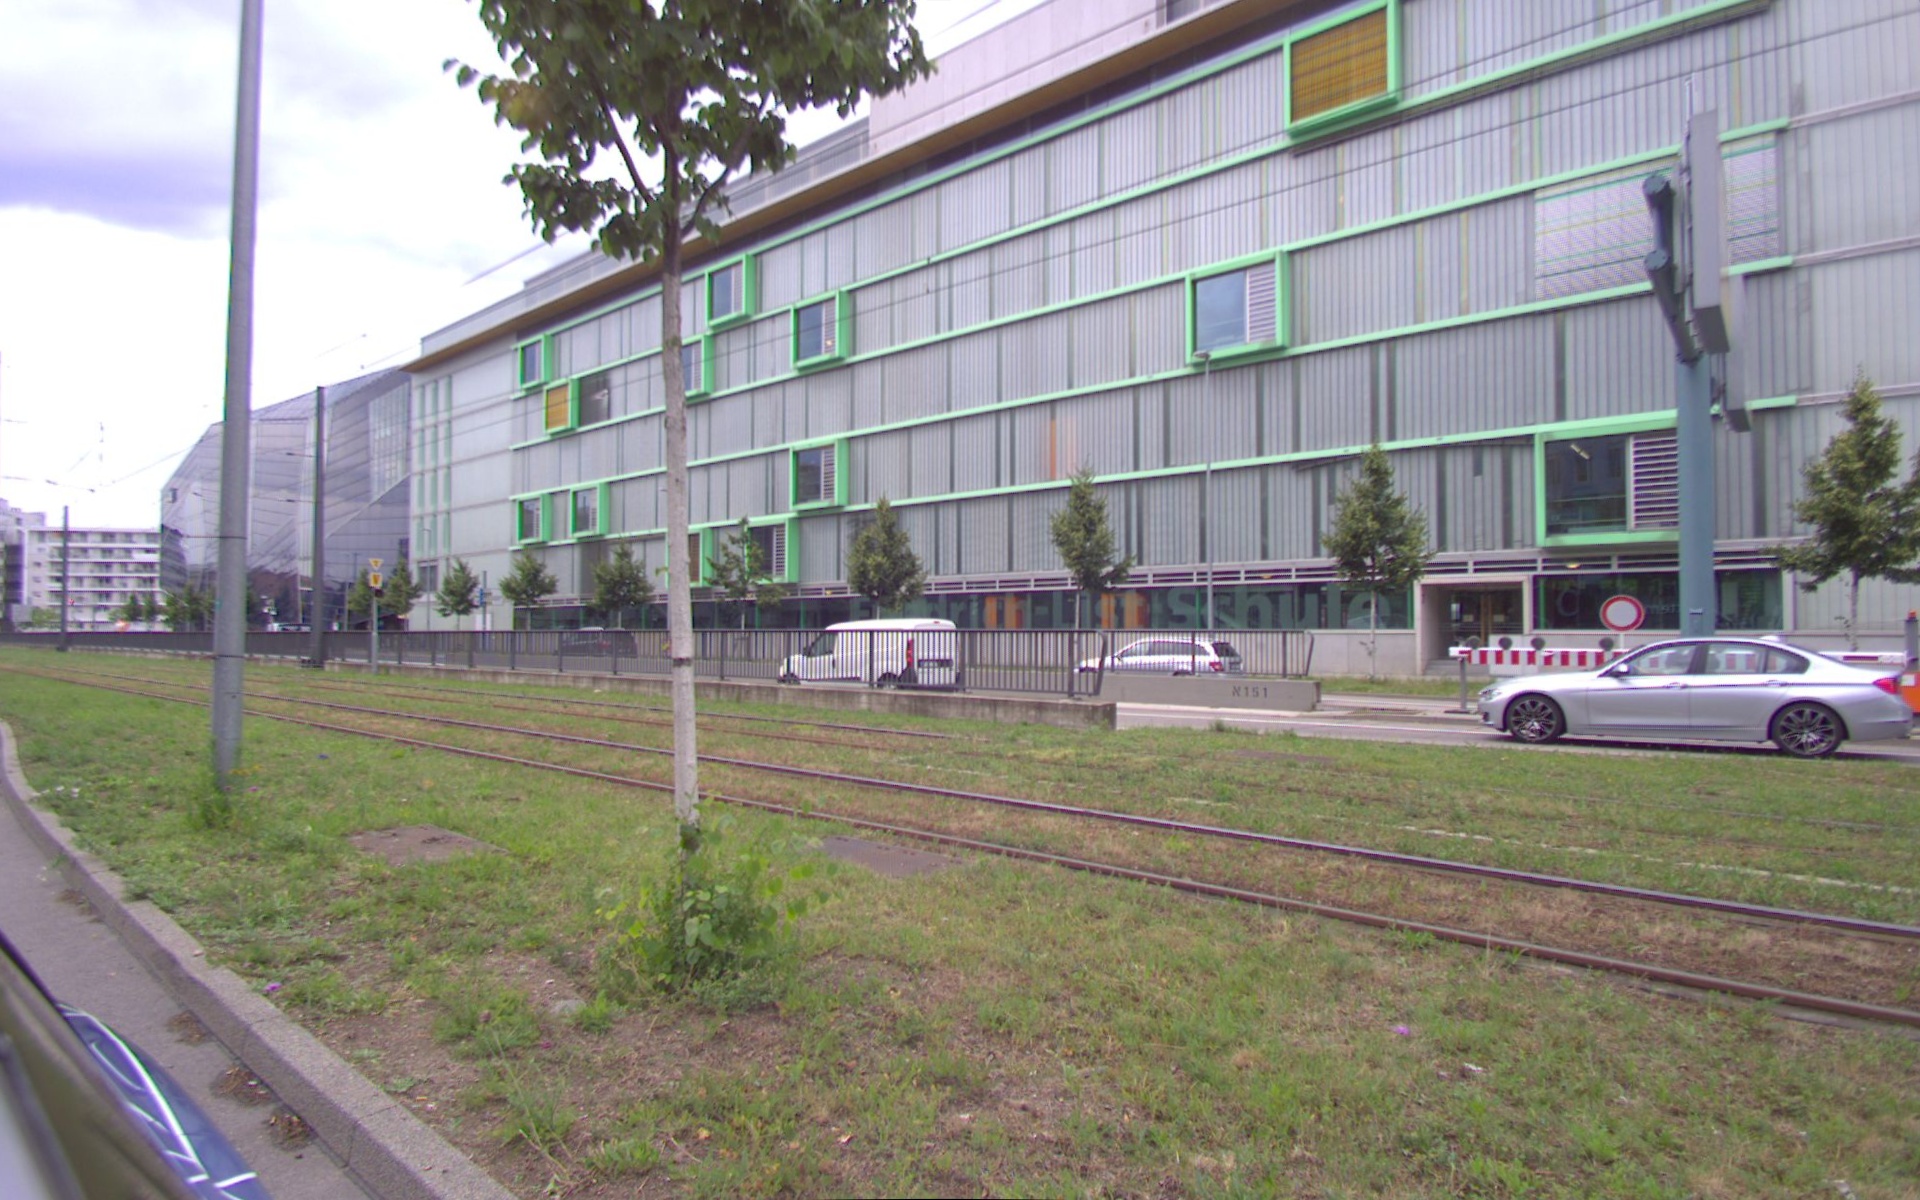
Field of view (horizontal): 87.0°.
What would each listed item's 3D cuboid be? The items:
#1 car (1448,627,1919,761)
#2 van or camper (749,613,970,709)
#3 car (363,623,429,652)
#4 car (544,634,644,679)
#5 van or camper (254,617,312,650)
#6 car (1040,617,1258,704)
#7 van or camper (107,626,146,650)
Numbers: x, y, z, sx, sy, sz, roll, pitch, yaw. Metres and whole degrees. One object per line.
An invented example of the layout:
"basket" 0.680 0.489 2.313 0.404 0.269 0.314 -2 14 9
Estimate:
"car" 9.167 1.126 13.079 4.913 1.456 1.712 -2 -4 37
"van or camper" -2.351 1.302 22.687 5.120 1.915 1.870 -1 -3 40
"car" -33.547 2.202 60.170 4.645 1.679 1.972 -1 -3 42
"car" -16.021 2.416 44.169 4.965 1.837 1.972 -2 -2 42
"van or camper" -48.511 2.424 72.474 5.356 2.304 2.150 -2 -3 41
"car" 4.770 1.477 26.124 5.292 2.029 1.972 -2 -2 42
"van or camper" -84.788 3.850 102.910 6.503 2.304 2.150 -2 -2 42
